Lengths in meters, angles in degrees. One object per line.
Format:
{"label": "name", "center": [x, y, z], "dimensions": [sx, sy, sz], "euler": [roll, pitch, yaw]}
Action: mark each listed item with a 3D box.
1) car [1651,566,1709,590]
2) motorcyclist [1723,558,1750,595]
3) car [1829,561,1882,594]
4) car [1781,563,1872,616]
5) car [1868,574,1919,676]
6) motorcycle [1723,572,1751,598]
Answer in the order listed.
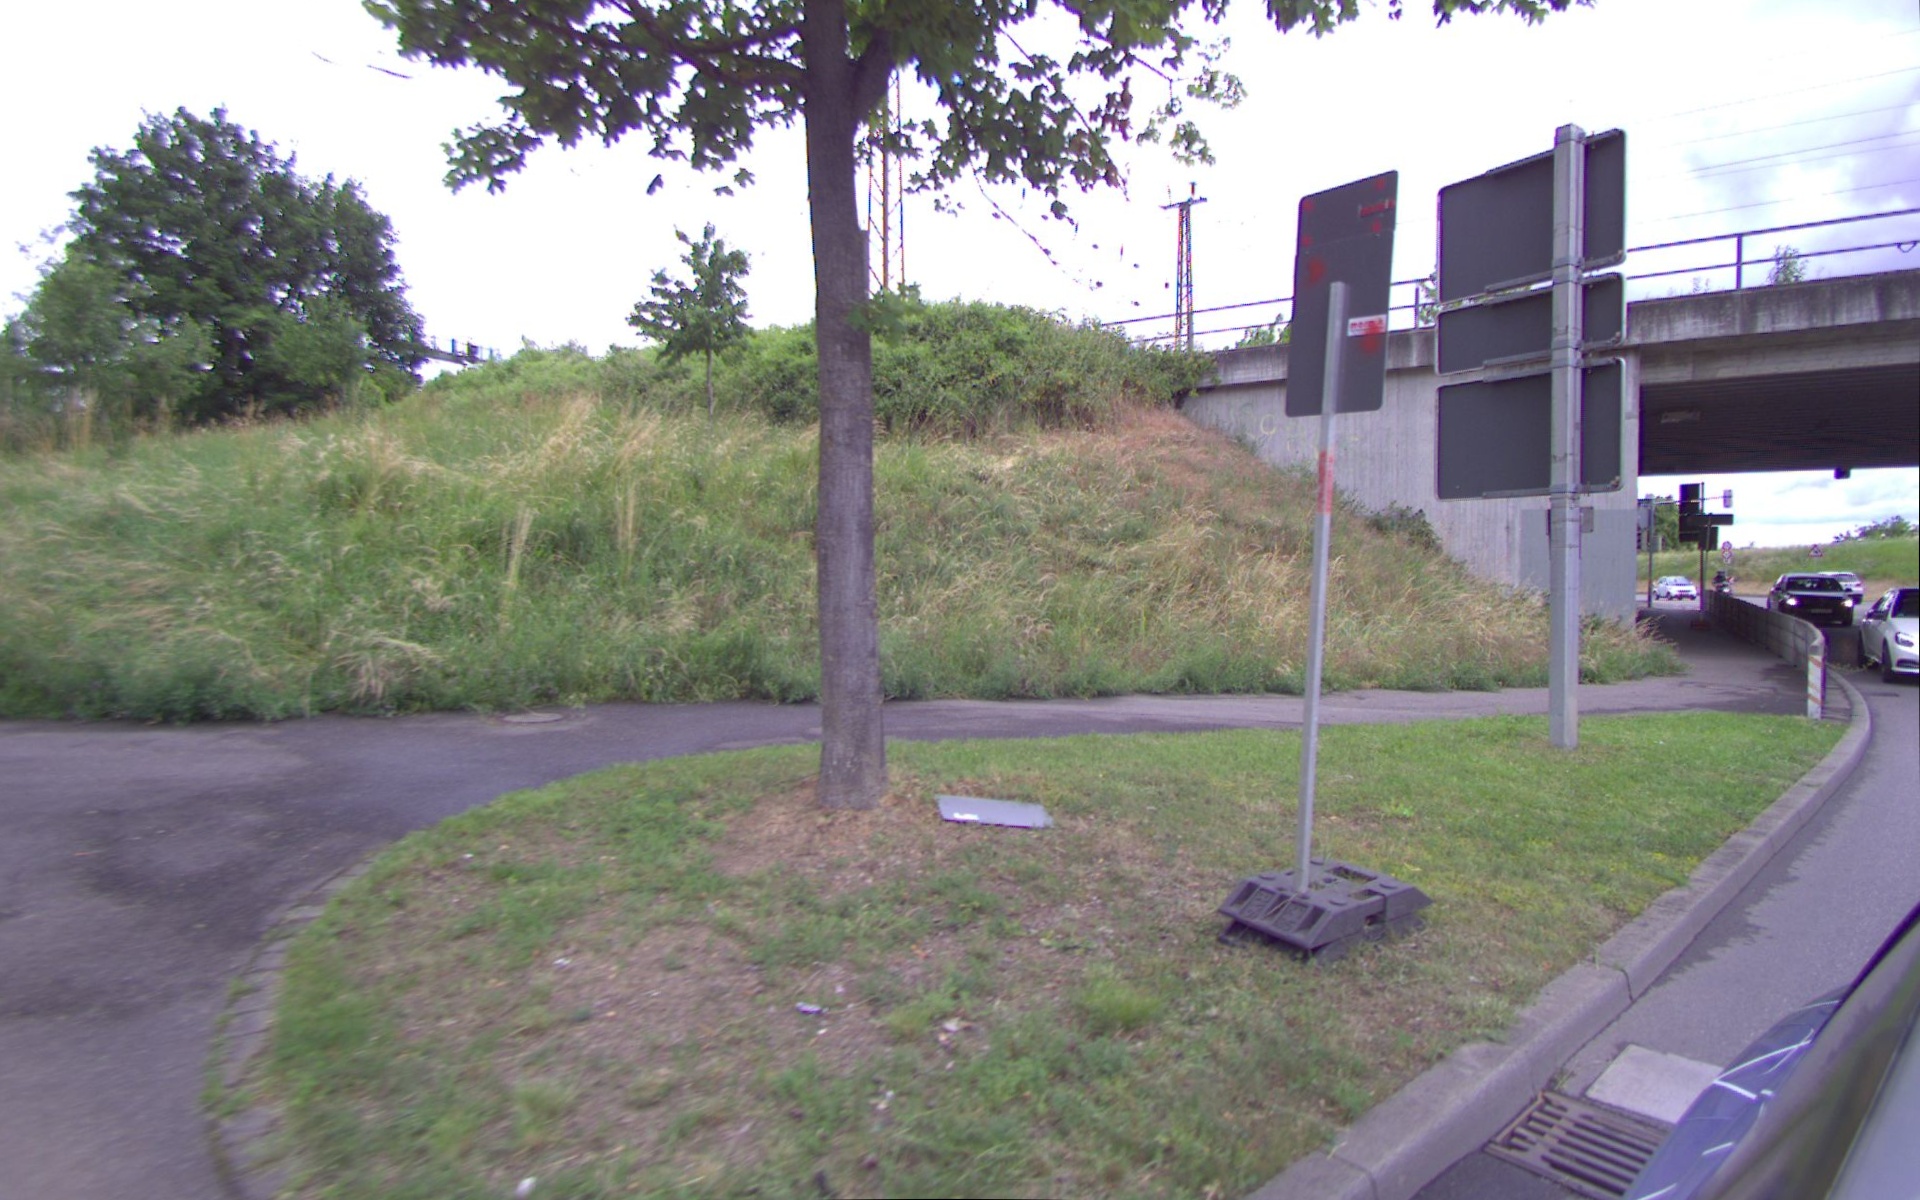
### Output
{"label": "car", "center": [46.552, -1.405, 65.531], "dimensions": [1.735, 1.511, 3.981], "euler": [0, 0, 15]}
{"label": "motorcyclist", "center": [34.110, -1.024, 44.458], "dimensions": [0.877, 1.625, 1.228], "euler": [0, 0, 35]}
{"label": "car", "center": [47.119, -1.158, 53.236], "dimensions": [3.823, 1.689, 1.755], "euler": [0, 0, -44]}
{"label": "car", "center": [27.253, -0.315, 31.938], "dimensions": [1.748, 1.560, 3.950], "euler": [0, 0, 35]}
{"label": "car", "center": [15.913, 0.348, 16.042], "dimensions": [1.895, 1.498, 4.040], "euler": [0, 0, 37]}
{"label": "motorcycle", "center": [34.086, -0.654, 44.437], "dimensions": [0.877, 1.118, 2.330], "euler": [0, 0, 35]}
